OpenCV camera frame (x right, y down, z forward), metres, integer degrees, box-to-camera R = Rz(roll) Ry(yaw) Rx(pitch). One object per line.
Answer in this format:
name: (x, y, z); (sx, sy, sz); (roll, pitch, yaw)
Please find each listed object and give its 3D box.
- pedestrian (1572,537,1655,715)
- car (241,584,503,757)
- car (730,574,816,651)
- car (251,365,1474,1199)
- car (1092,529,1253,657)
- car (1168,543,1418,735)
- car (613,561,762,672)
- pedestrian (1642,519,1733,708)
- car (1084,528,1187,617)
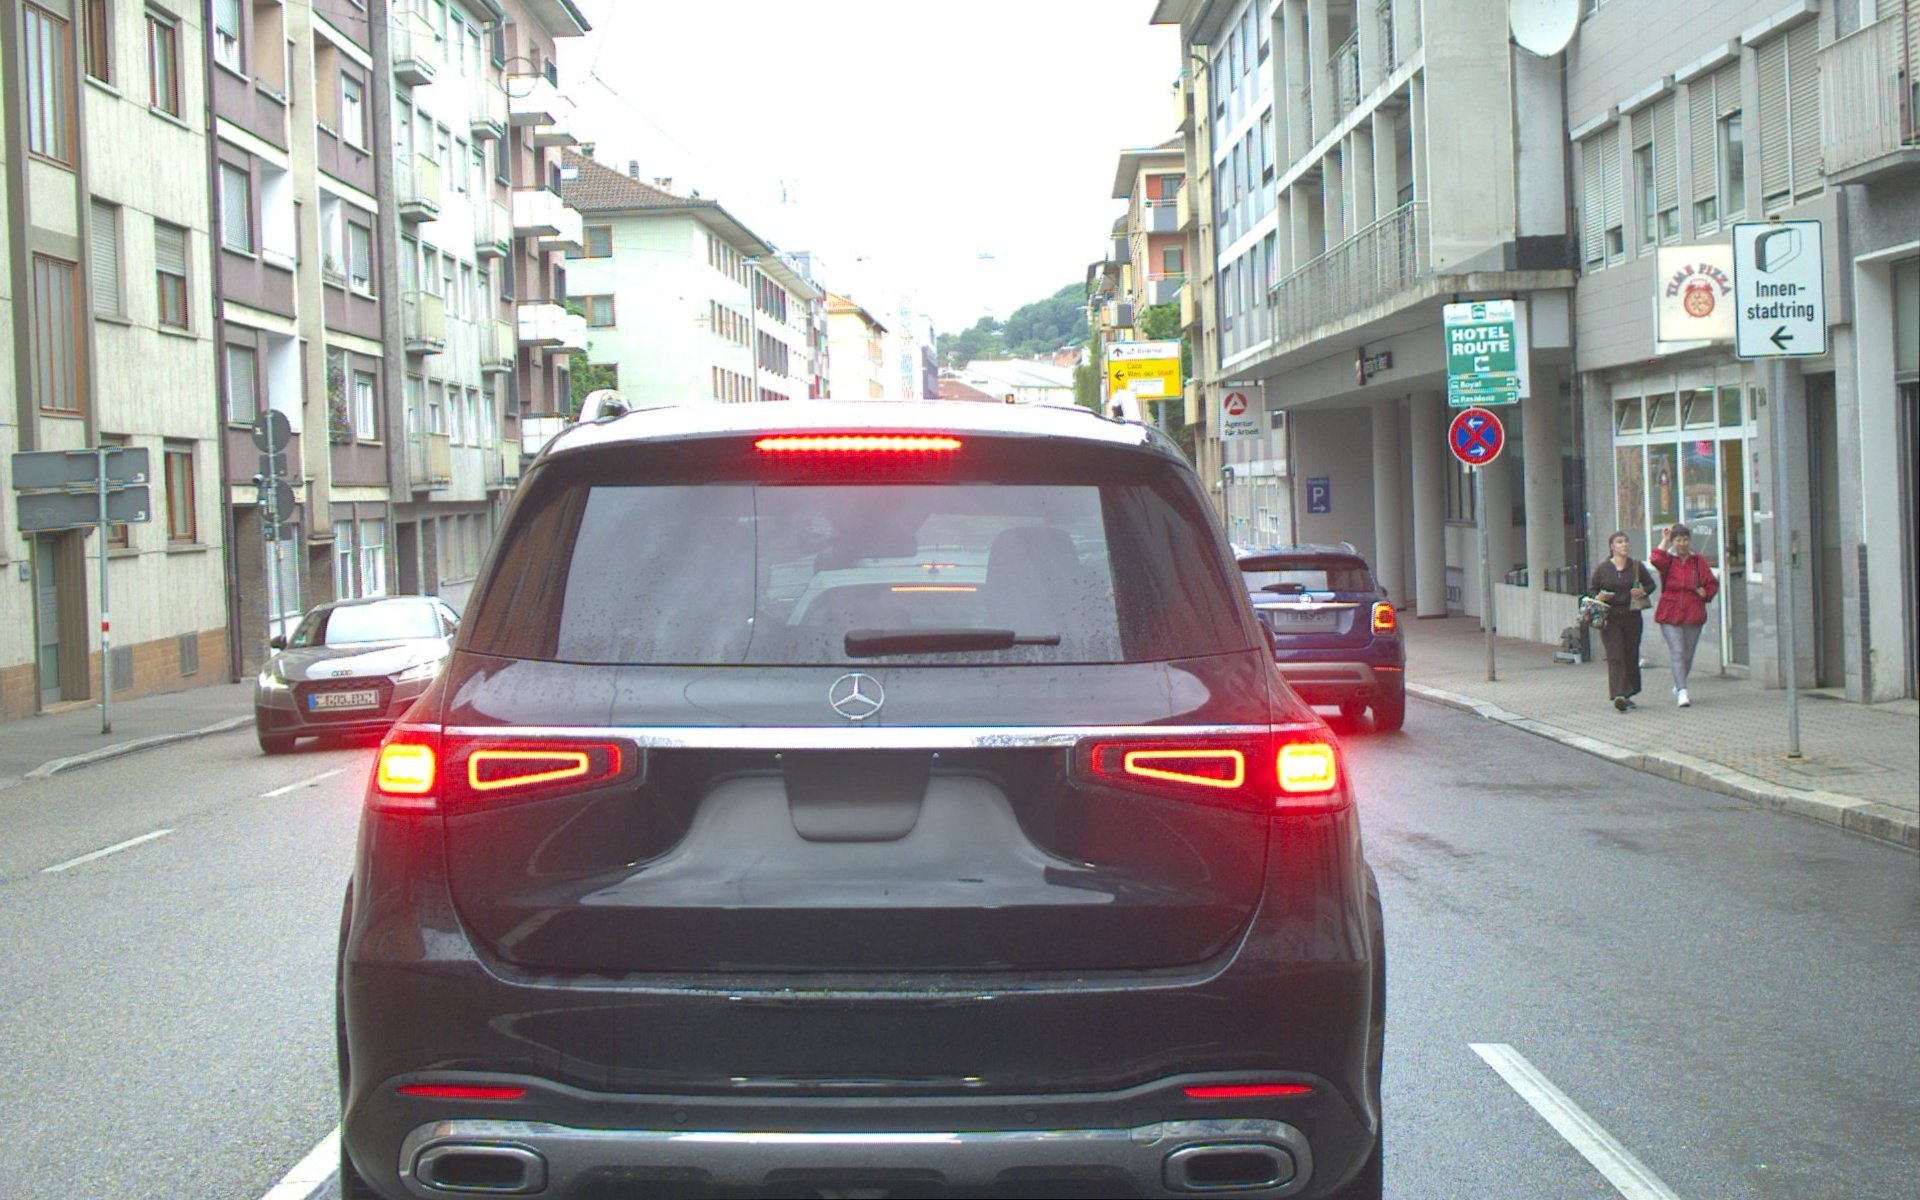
pedestrian: (5.653, 0.220, 29.762); (0.506, 1.495, 0.562); (-4, 1, -1)
car: (-5.505, 0.621, 32.612); (1.767, 1.341, 3.889); (-5, 1, -1)
car: (-4.307, 0.267, 79.820); (1.732, 1.570, 4.012); (-5, 1, -1)
car: (-0.205, 0.492, 7.754); (2.025, 1.799, 4.000); (1, 1, -1)
car: (3.048, -0.134, 50.138); (1.940, 1.769, 4.747); (0, 1, -1)
car: (2.877, 0.290, 30.415); (1.767, 1.575, 4.000); (-1, 1, -1)
car: (-3.778, 0.196, 48.309); (1.724, 1.385, 4.339); (-3, 1, -1)
pedestrian: (6.261, 0.112, 29.610); (0.560, 1.573, 0.526); (-4, 1, -1)
car: (3.253, -0.536, 64.388); (1.808, 1.600, 4.212); (0, 1, 1)
